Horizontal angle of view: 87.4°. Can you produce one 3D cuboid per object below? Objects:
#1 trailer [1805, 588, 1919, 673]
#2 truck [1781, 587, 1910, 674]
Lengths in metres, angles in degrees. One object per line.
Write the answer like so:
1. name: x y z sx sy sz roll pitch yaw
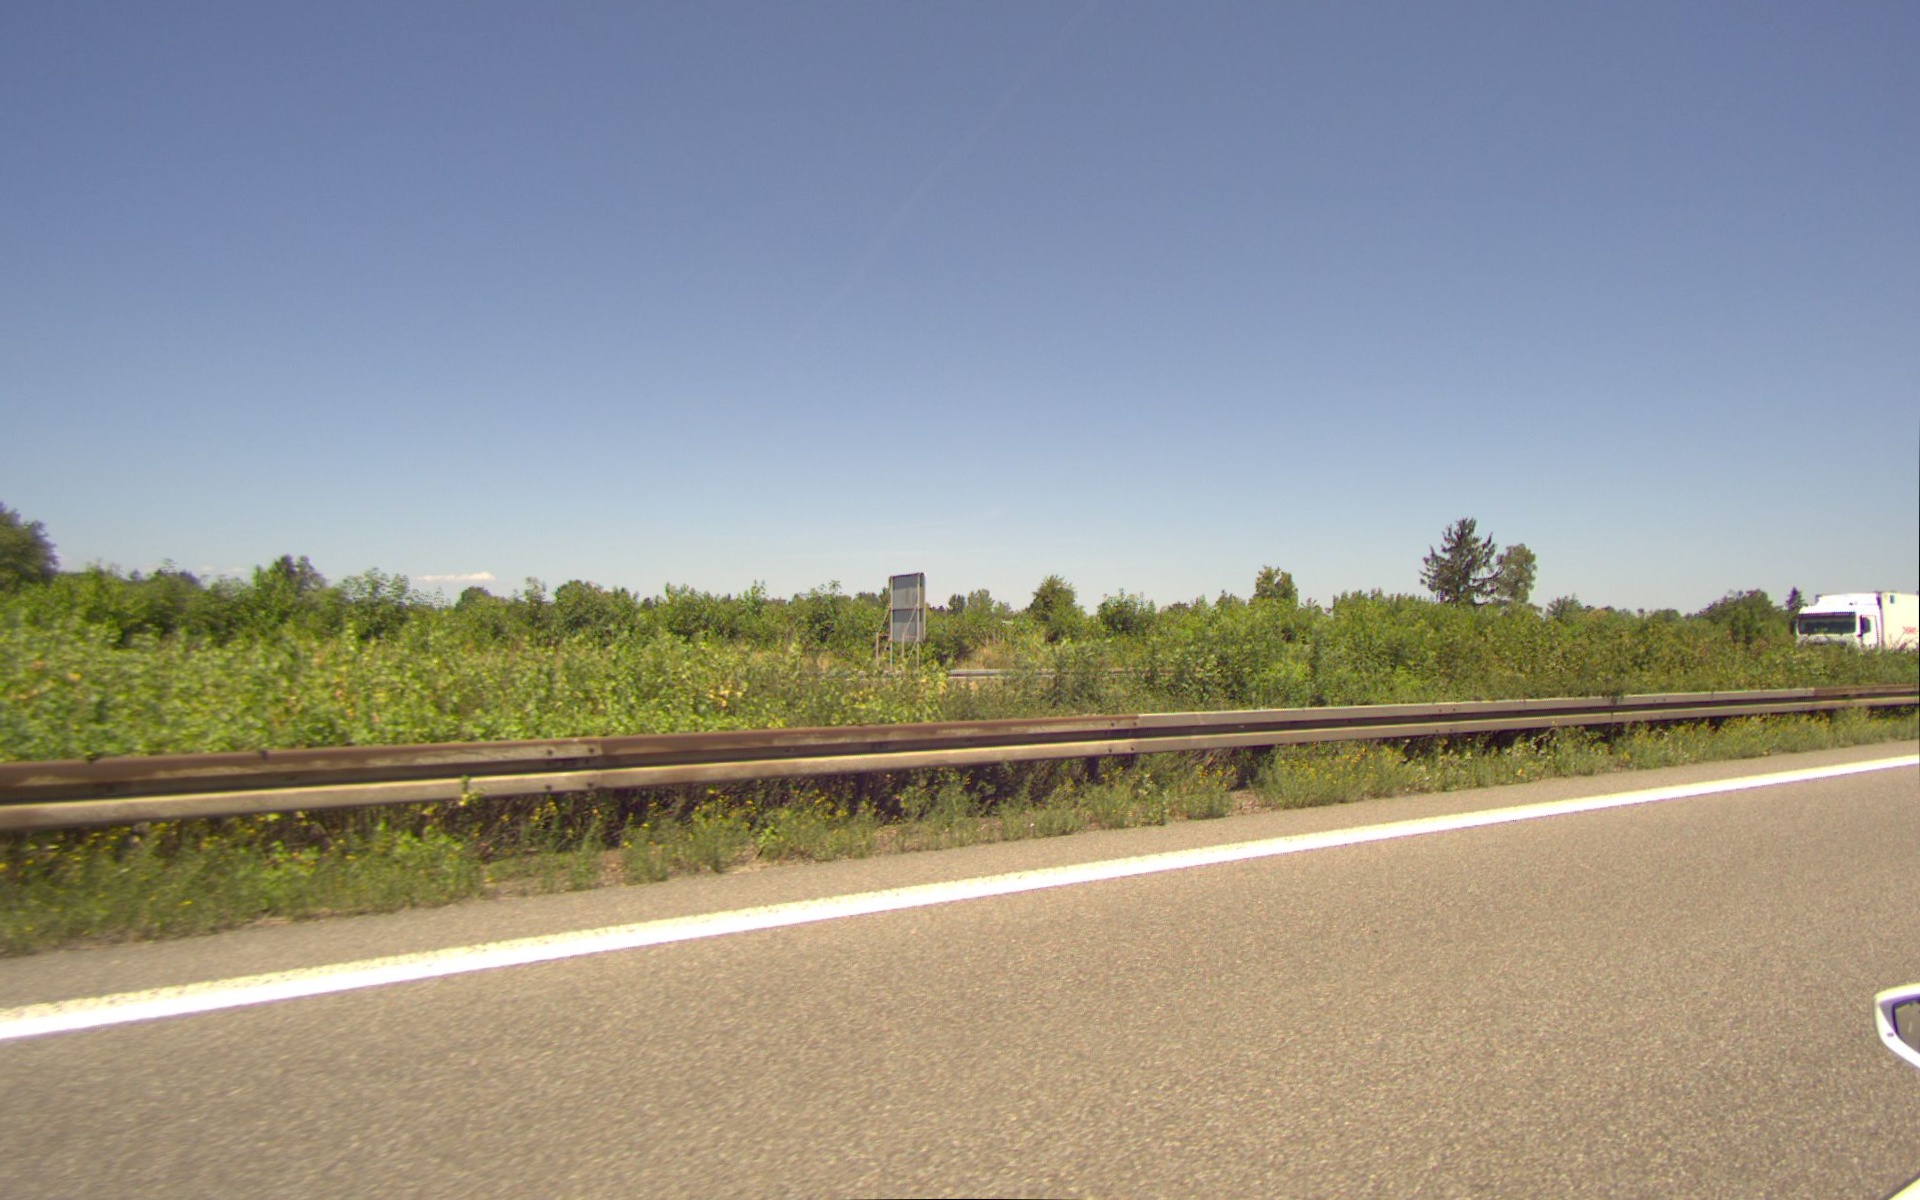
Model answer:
1. trailer: 47.917 1.602 51.218 13.747 3.921 2.919 2 0 -31
2. truck: 42.163 1.429 47.827 5.684 3.921 2.919 2 0 -30
